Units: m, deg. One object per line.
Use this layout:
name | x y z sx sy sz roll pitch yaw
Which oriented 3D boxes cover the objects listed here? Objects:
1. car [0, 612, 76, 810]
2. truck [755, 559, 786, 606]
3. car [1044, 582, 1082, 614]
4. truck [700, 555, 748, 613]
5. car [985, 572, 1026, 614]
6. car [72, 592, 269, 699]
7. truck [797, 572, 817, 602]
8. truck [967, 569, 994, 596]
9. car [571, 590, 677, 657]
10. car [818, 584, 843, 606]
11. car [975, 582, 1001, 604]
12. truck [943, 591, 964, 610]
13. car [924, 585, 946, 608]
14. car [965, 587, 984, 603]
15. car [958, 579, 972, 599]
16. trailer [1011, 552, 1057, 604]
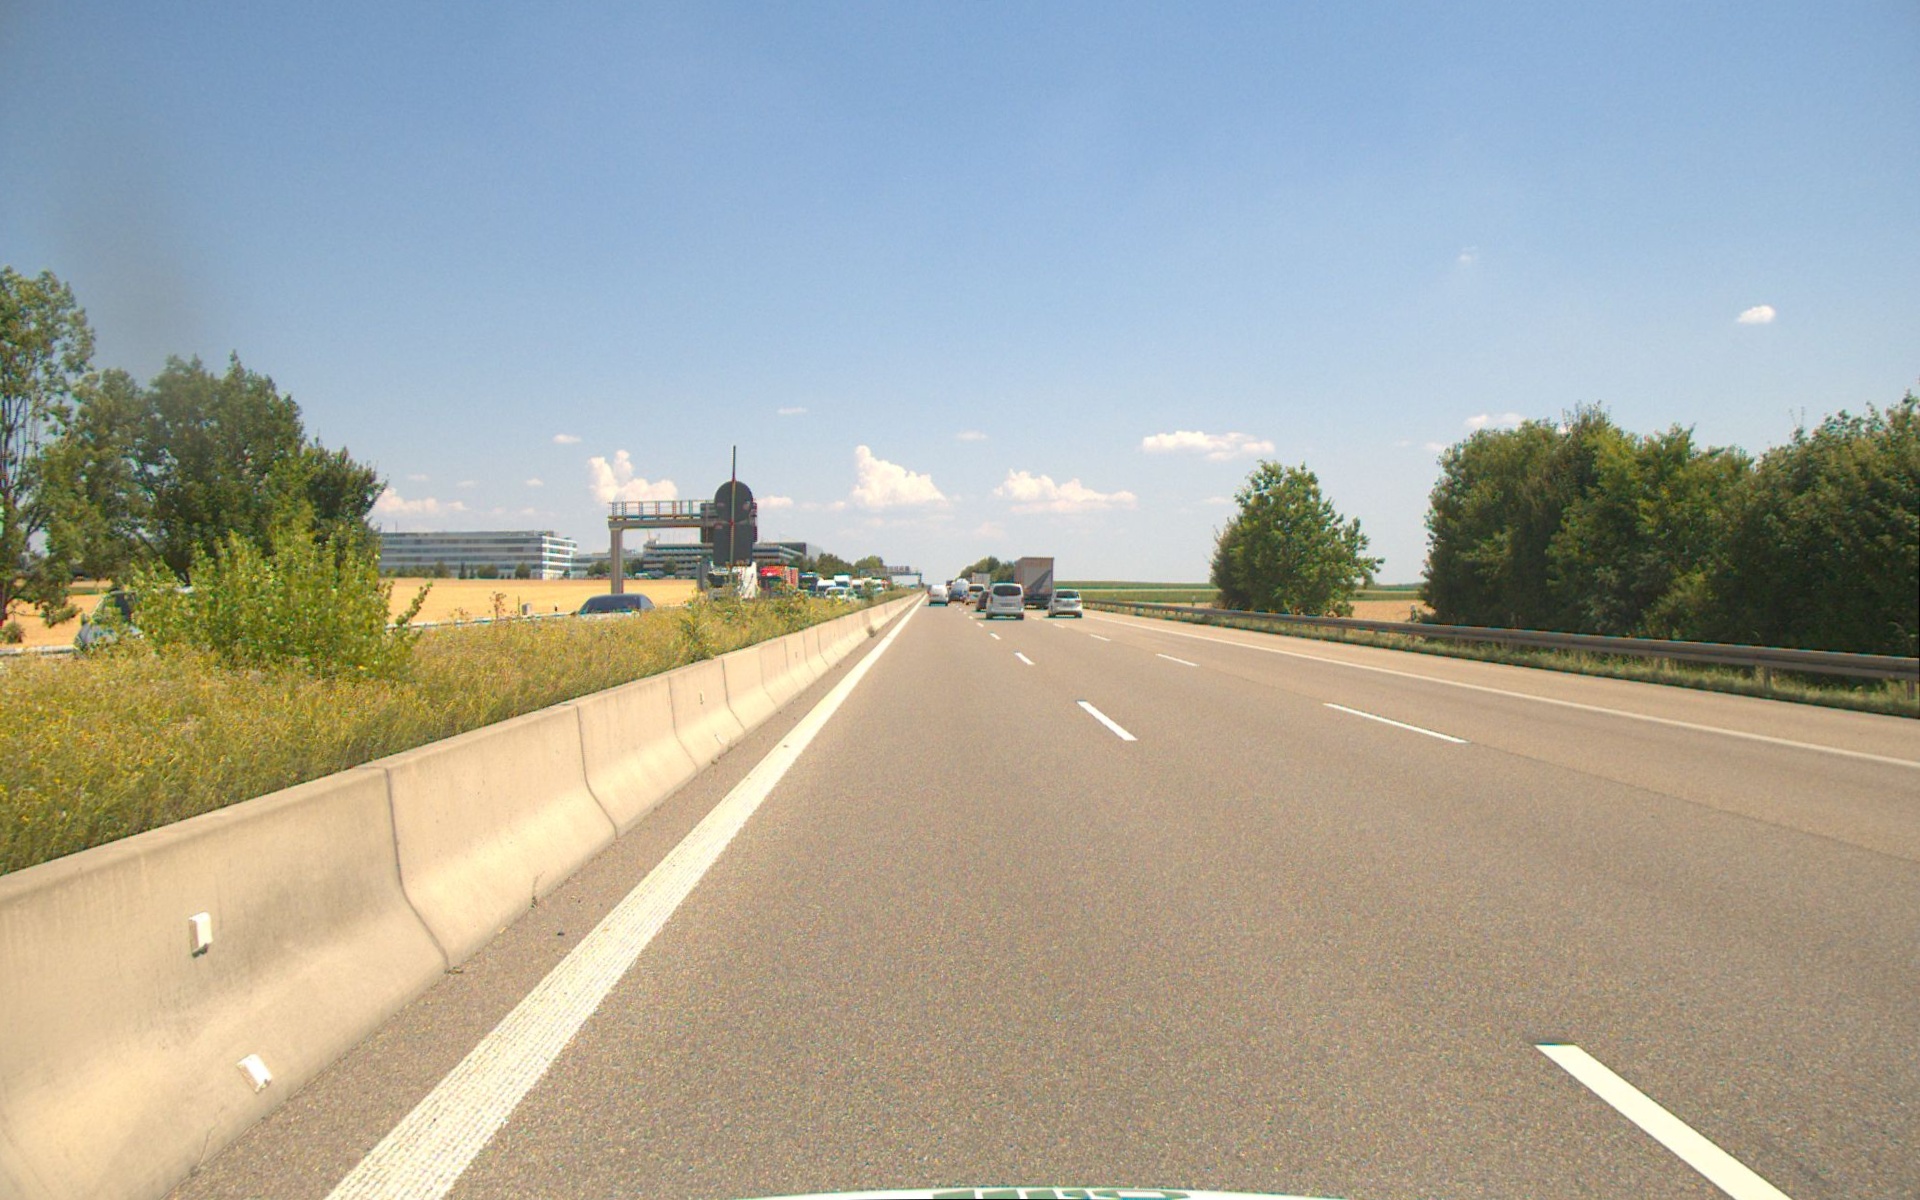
car | -7.903 0.843 11.393 1.660 1.441 3.814 -1 0 -2
truck | -19.244 -1.750 168.469 2.720 4.678 4.722 0 0 -2
car | 5.986 -0.074 96.503 1.953 1.825 3.999 0 -1 -1
truck | -17.987 -1.213 126.280 2.890 4.230 5.470 -2 0 -2
car | 2.382 -0.358 87.538 1.953 2.157 3.999 0 -1 -1
car | -16.253 0.863 34.357 1.726 1.986 5.116 -2 0 -2
truck | -19.205 -1.604 207.770 2.067 3.663 7.118 0 0 -2
truck | 3.171 -2.712 259.157 3.738 3.973 9.578 -1 0 -1
car | -8.519 0.556 42.308 1.726 1.577 4.727 -1 0 0
car | -10.579 -0.429 135.411 1.779 1.784 4.991 0 0 -2
car | 1.945 -0.491 116.761 1.737 1.473 3.999 0 -1 -1
truck | -0.704 0.045 180.800 2.167 2.049 4.970 -1 0 -2
car | -2.286 -0.327 150.341 1.953 2.049 3.999 0 -1 -1
car | 1.421 -0.452 160.476 1.737 1.473 3.999 0 -1 -1
car | 0.614 -1.425 213.897 1.737 2.434 3.999 0 -1 -1
trailer | 6.021 -1.771 135.888 3.211 4.037 9.110 0 -1 -1
